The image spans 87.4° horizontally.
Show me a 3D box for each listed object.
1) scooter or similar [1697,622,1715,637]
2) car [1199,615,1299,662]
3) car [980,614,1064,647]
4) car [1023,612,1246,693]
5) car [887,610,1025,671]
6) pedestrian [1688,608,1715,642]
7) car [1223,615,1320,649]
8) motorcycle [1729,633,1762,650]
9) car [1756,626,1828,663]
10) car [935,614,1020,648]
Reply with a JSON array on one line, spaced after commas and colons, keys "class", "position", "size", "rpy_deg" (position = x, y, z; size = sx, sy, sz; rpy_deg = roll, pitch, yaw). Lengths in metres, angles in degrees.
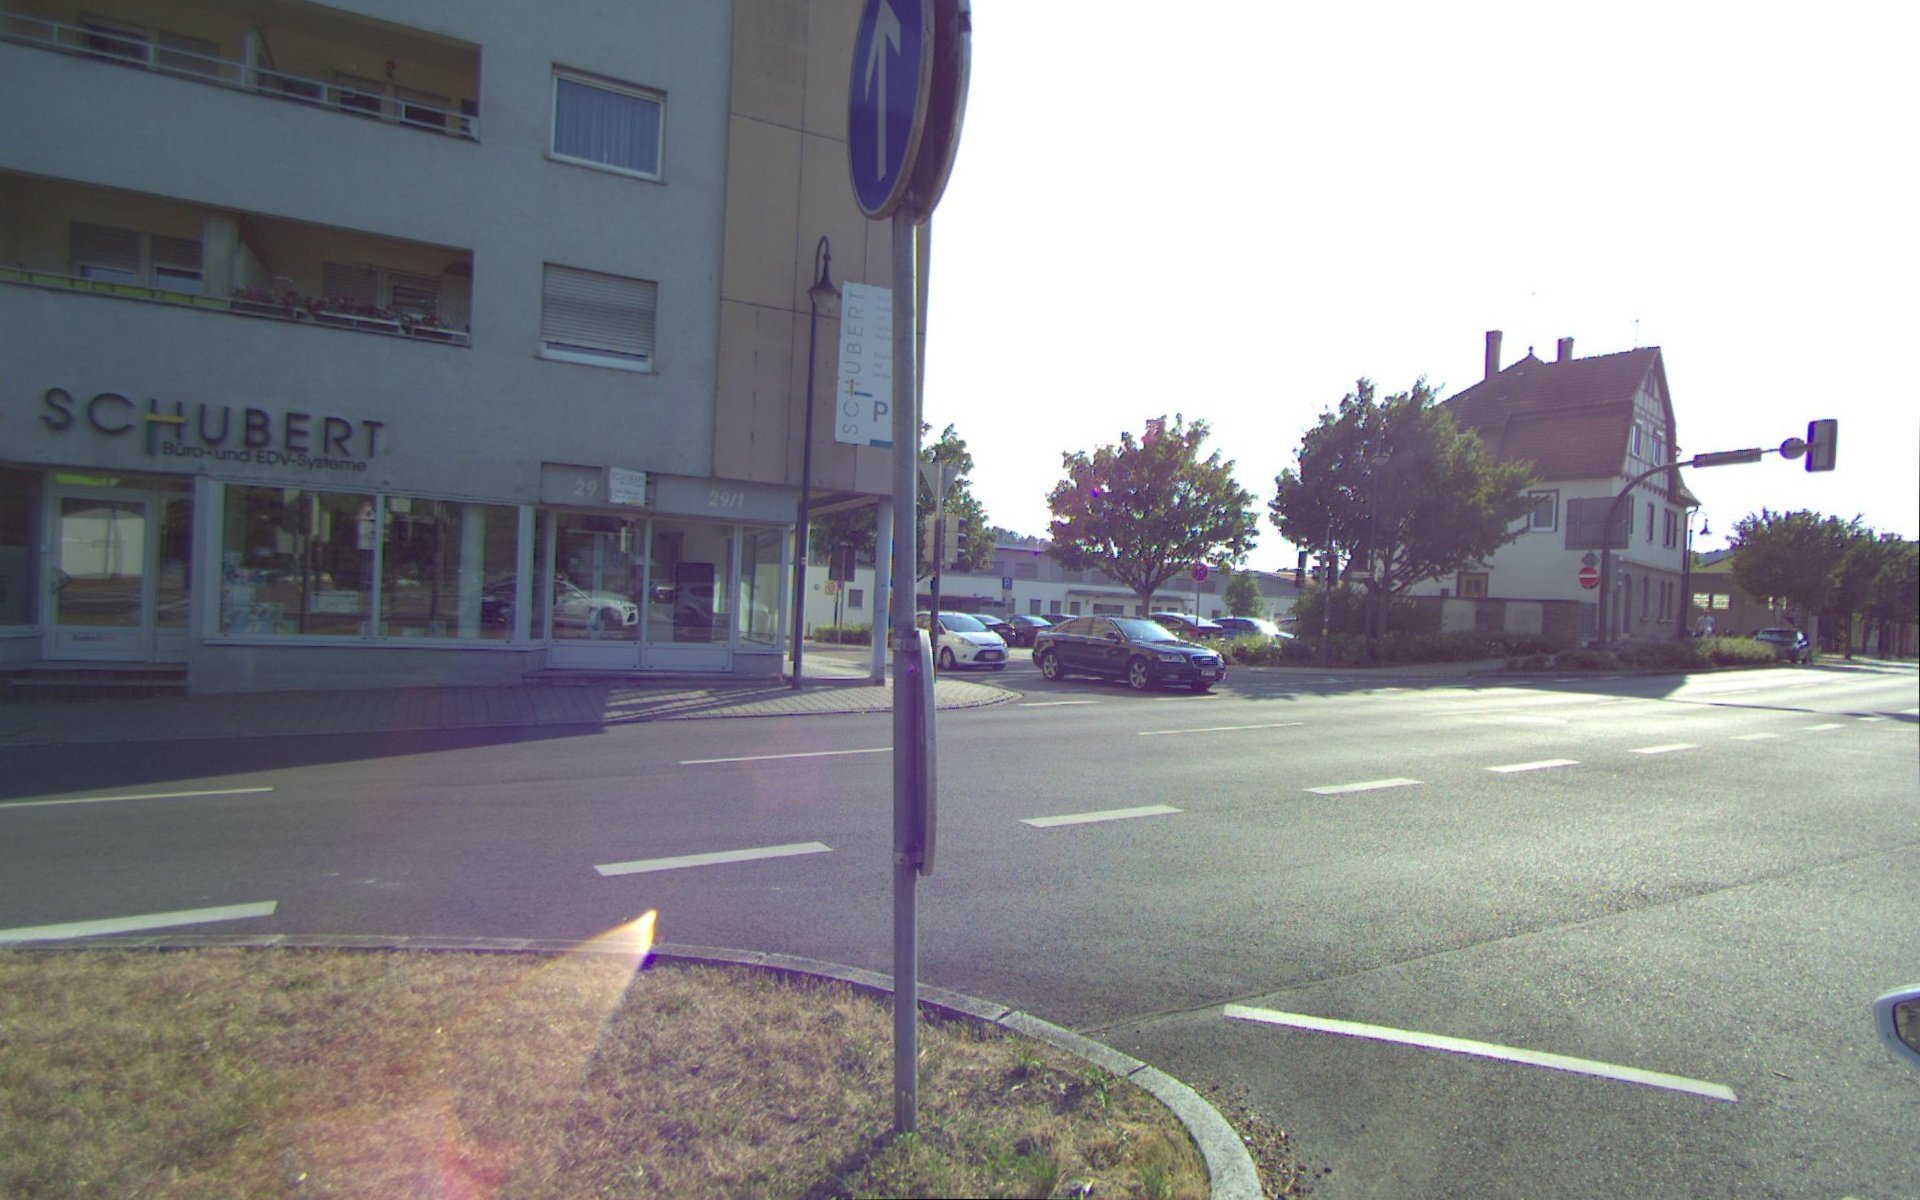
[{"class": "scooter or similar", "position": [31.677, 1.254, 42.647], "size": [1.036, 0.590, 0.439], "rpy_deg": [2, -1, -42]}, {"class": "car", "position": [11.026, 1.455, 38.406], "size": [1.735, 1.661, 3.256], "rpy_deg": [2, -1, -42]}, {"class": "car", "position": [2.796, 1.361, 45.776], "size": [1.735, 1.418, 3.612], "rpy_deg": [2, -1, -42]}, {"class": "car", "position": [3.447, 1.016, 20.880], "size": [1.895, 1.455, 4.835], "rpy_deg": [2, -1, -30]}, {"class": "car", "position": [-0.188, 1.006, 26.218], "size": [1.848, 1.455, 3.790], "rpy_deg": [2, -1, -33]}, {"class": "pedestrian", "position": [32.144, 1.083, 43.528], "size": [0.701, 1.413, 0.805], "rpy_deg": [1, 0, -41]}, {"class": "car", "position": [14.047, 1.429, 45.389], "size": [1.733, 1.418, 3.887], "rpy_deg": [2, -1, -39]}, {"class": "motorcycle", "position": [52.215, 2.739, 66.755], "size": [1.834, 1.083, 0.517], "rpy_deg": [1, 0, -4]}, {"class": "car", "position": [37.855, 2.005, 45.659], "size": [4.099, 1.473, 1.741], "rpy_deg": [2, 3, -41]}, {"class": "car", "position": [0.740, 1.341, 44.133], "size": [1.735, 1.418, 3.612], "rpy_deg": [2, -1, -42]}]
